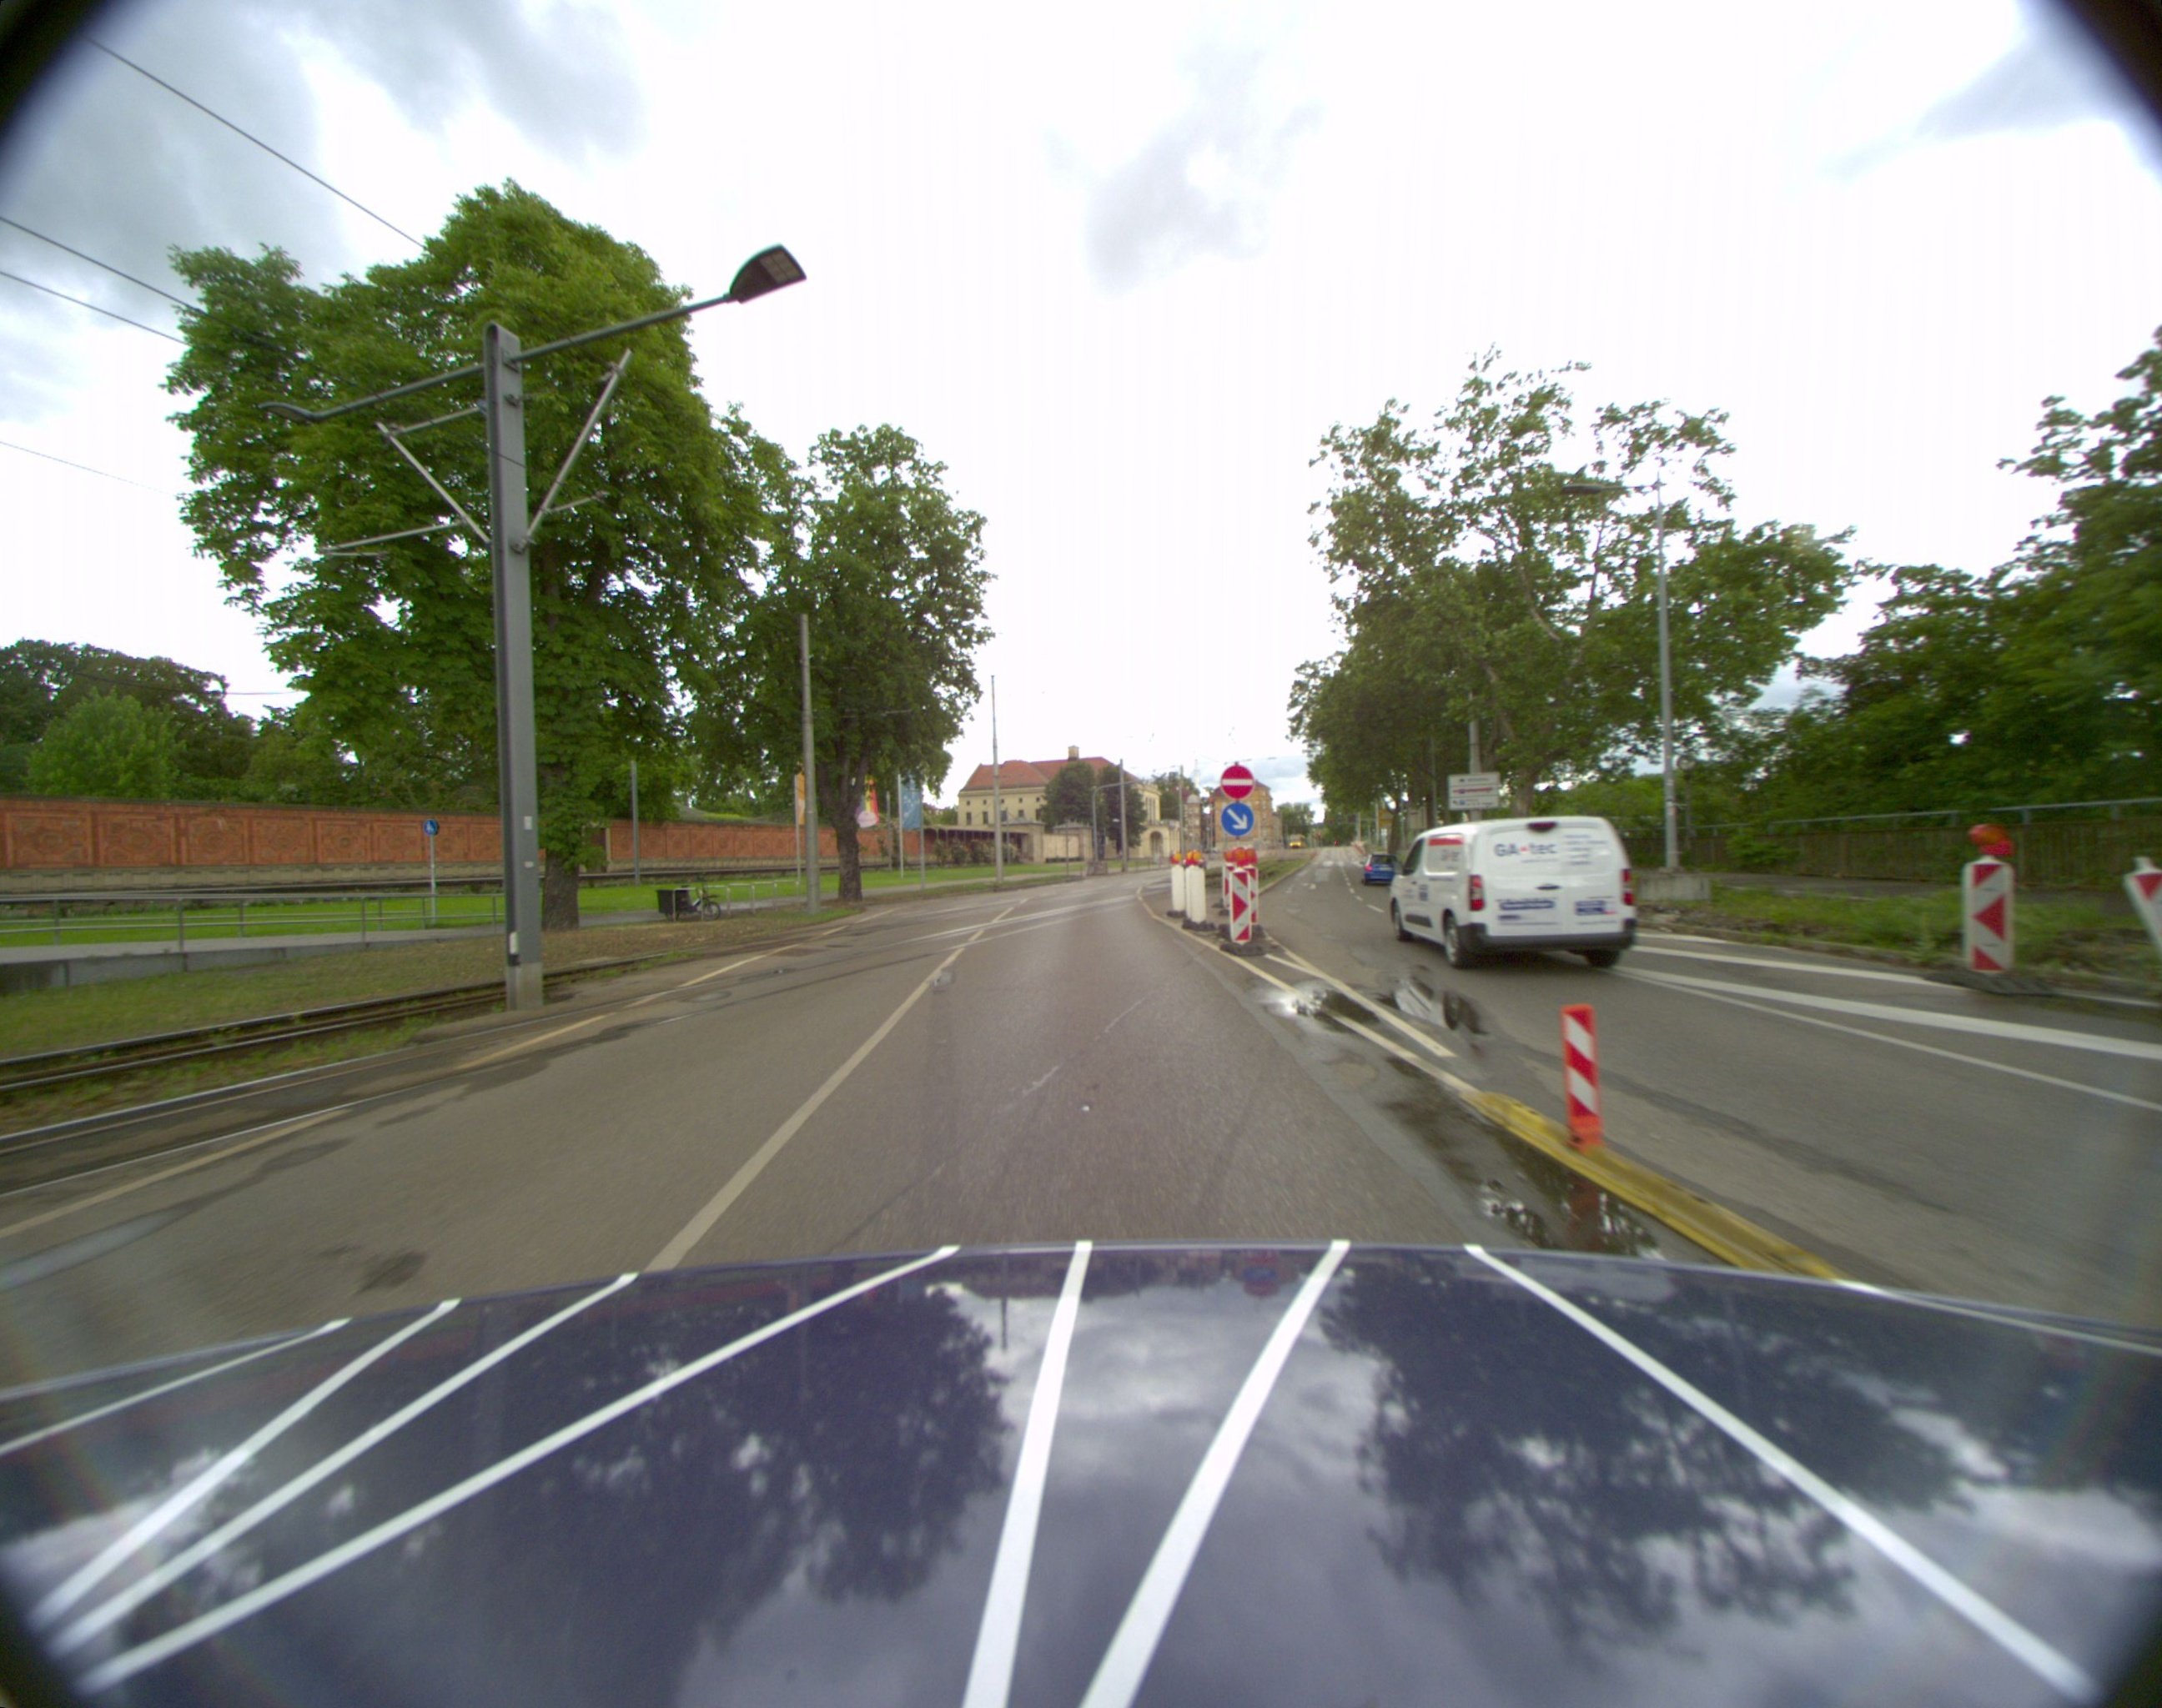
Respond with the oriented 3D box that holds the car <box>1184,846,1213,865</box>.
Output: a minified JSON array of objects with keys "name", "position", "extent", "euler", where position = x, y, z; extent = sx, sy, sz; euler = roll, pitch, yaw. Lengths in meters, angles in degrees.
[{"name":"car","position":[9.902,0.129,63.890],"extent":[1.679,1.433,4.124],"euler":[-4,0,18]}]

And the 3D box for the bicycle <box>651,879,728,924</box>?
[{"name":"bicycle","position":[-10.764,1.301,20.884],"extent":[1.993,1.151,0.742],"euler":[-1,1,23]}]

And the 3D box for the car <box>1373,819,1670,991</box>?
[{"name":"car","position":[5.540,0.523,10.385],"extent":[1.867,1.772,4.751],"euler":[-2,0,9]}]

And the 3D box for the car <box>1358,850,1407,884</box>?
[{"name":"car","position":[14.000,0.591,35.466],"extent":[1.697,1.453,3.917],"euler":[-1,0,15]}]

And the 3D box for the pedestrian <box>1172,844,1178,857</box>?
[{"name":"pedestrian","position":[12.855,-0.475,104.160],"extent":[0.671,1.758,0.938],"euler":[-1,1,18]}]

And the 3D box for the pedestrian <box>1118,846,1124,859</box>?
[{"name":"pedestrian","position":[5.789,-0.215,109.322],"extent":[0.595,1.782,0.809],"euler":[-1,1,18]}]

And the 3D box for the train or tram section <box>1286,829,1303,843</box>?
[{"name":"train or tram section","position":[54.692,-4.556,194.217],"extent":[3.734,3.346,17.574],"euler":[0,2,17]}]

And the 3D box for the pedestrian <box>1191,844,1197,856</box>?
[{"name":"pedestrian","position":[16.168,-0.597,108.603],"extent":[0.671,1.758,0.938],"euler":[-1,1,18]}]
